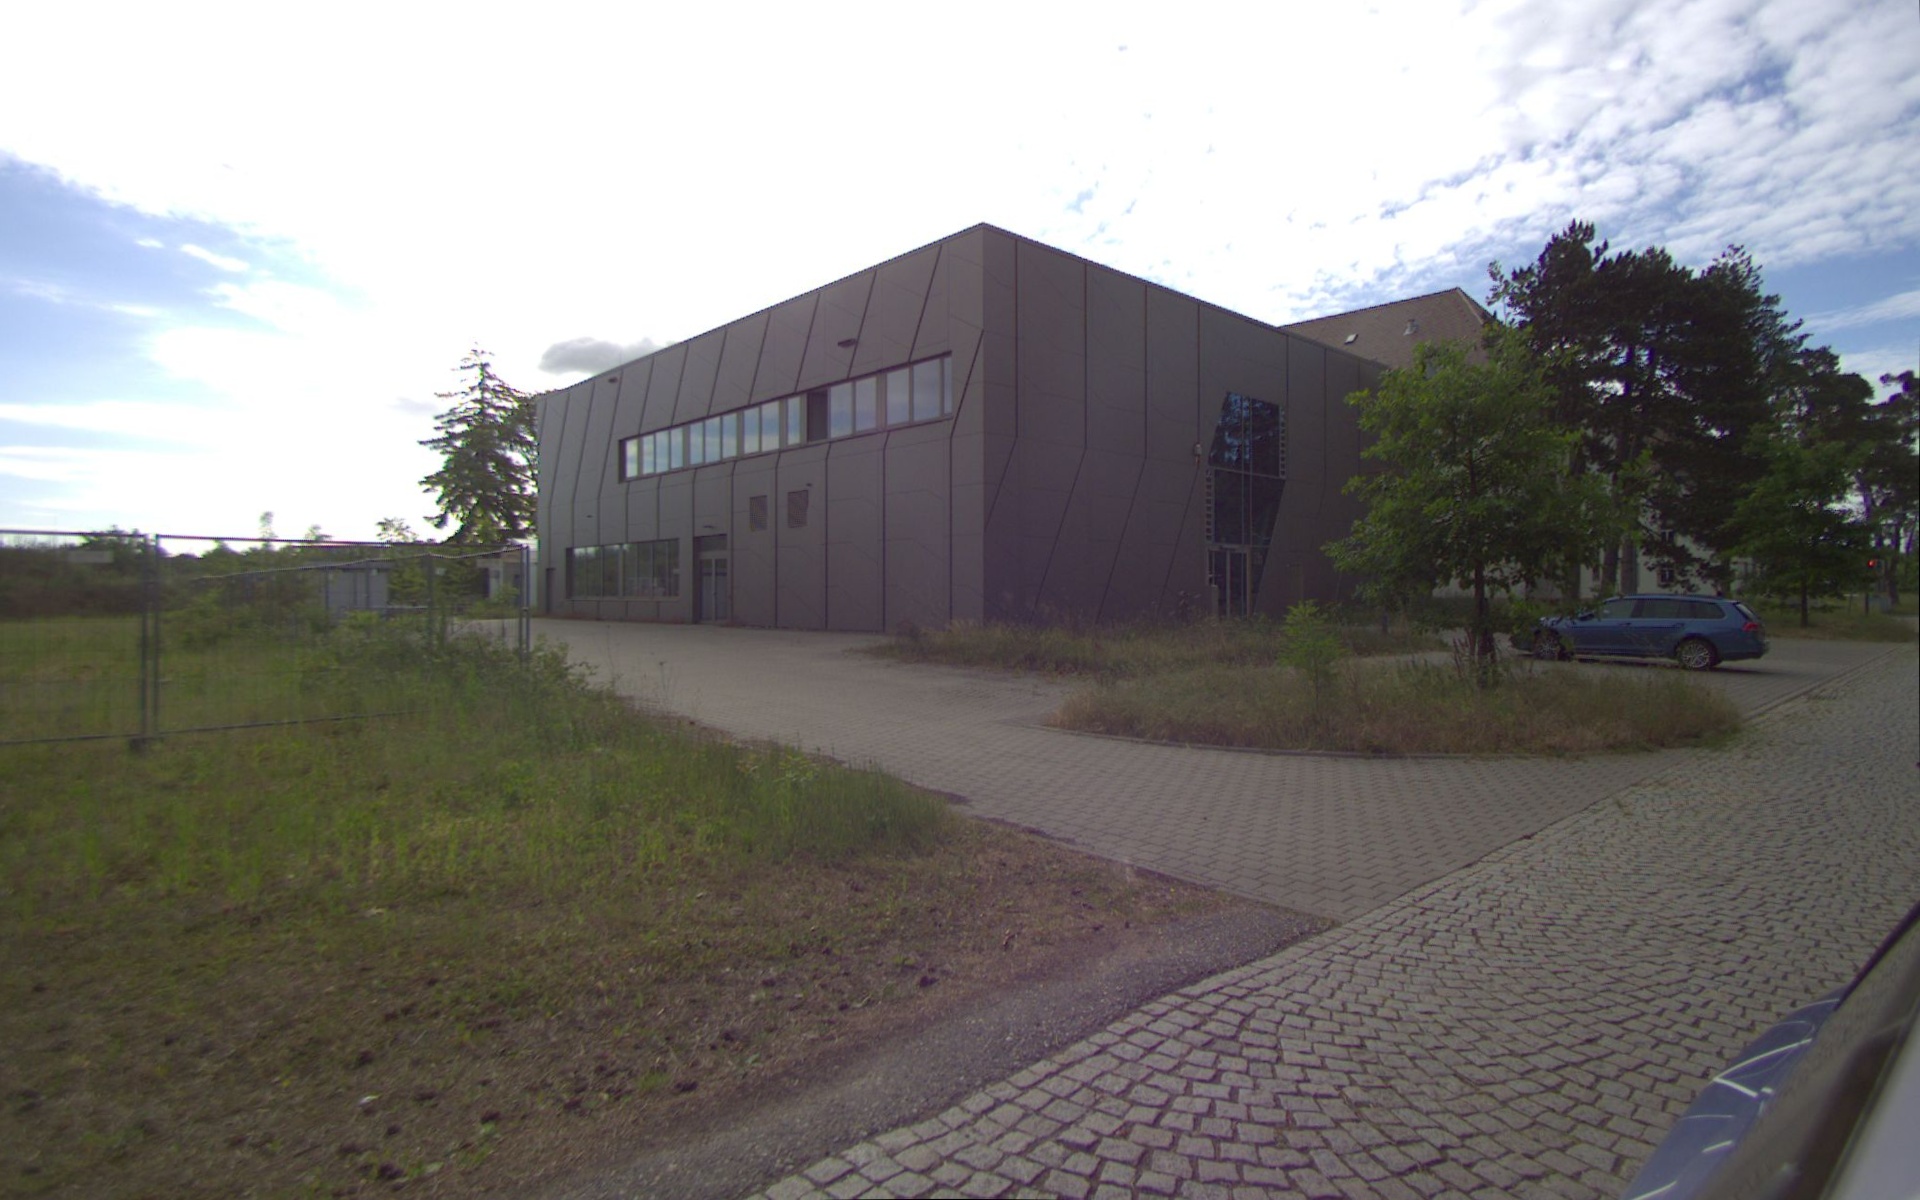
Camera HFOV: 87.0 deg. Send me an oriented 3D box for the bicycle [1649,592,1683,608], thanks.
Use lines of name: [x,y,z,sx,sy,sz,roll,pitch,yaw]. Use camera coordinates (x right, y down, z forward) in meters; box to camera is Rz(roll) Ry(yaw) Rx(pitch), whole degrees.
bicycle: [48.107,0.001,68.986,0.563,1.098,1.836,-2,2,-39]

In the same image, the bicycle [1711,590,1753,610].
bicycle: [50.161,-0.015,65.775,2.154,1.292,0.950,0,0,41]

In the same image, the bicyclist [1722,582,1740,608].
bicyclist: [50.133,-0.337,65.808,0.913,1.656,0.950,0,0,40]

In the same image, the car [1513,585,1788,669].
car: [14.343,0.470,21.205,4.523,1.461,1.795,3,2,44]

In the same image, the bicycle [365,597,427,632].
bicycle: [-18.917,0.484,33.983,1.734,1.113,0.521,-1,-1,-42]
